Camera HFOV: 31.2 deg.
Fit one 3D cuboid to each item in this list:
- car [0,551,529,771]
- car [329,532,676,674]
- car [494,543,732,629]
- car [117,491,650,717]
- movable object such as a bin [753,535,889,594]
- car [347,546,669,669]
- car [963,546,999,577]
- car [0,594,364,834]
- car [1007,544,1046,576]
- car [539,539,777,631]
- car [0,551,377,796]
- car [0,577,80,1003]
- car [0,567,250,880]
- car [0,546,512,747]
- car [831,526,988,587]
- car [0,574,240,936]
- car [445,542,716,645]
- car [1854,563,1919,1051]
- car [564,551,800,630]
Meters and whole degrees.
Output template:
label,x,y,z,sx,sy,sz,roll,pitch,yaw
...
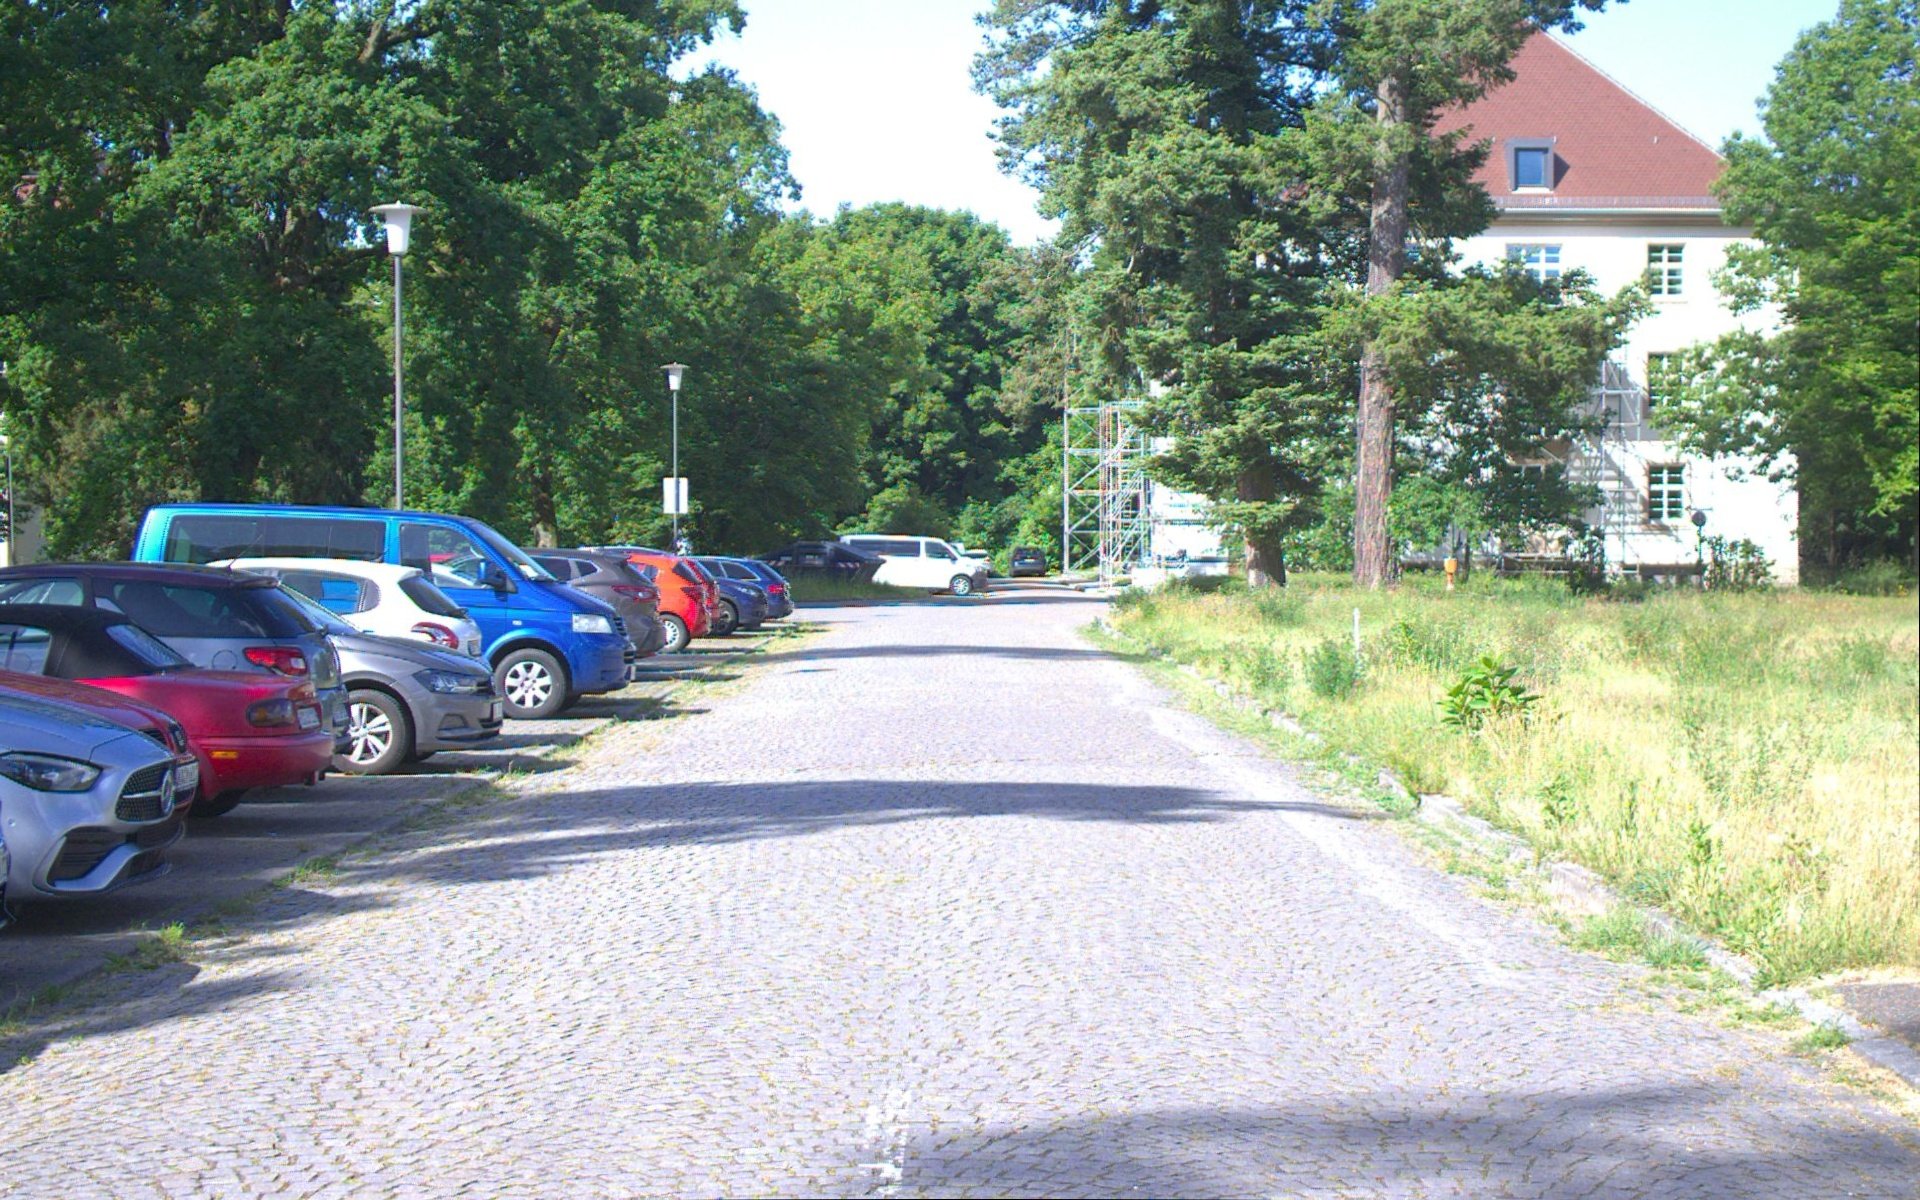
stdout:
label,x,y,z,sx,sy,sz,roll,pitch,yaw
car,-5.290,0.405,24.763,4.077,1.420,1.923,1,1,1
car,-5.522,0.017,41.877,3.953,1.562,1.974,2,2,-1
car,-6.039,-0.255,60.091,3.923,1.428,1.842,1,1,2
car,-5.441,0.024,32.923,4.717,1.961,2.005,2,1,0
movable object such as a bin,-4.148,-1.056,102.939,3.569,1.738,2.023,0,1,19
car,-5.819,0.078,44.611,3.923,1.444,1.867,2,1,-1
car,1.111,-2.043,182.007,1.812,1.574,4.135,0,1,0
car,-5.322,0.587,19.210,3.630,1.230,1.760,1,0,1
car,3.516,-2.109,182.289,1.971,1.662,4.086,0,1,0
car,-5.456,-0.286,62.484,4.135,1.574,1.884,1,1,0
car,-5.932,0.423,21.882,4.077,1.447,1.821,1,0,1
car,-5.562,0.602,11.836,4.580,1.447,1.985,1,0,-3
car,-6.138,0.523,16.902,4.864,1.416,1.938,1,1,1
car,-5.831,0.348,27.649,4.196,1.470,1.824,1,1,0
car,-1.696,-1.472,116.014,5.234,2.009,1.950,0,1,0
car,-5.702,0.562,14.556,4.864,1.416,1.938,1,0,1
car,-5.727,-0.114,52.203,3.923,1.456,1.842,1,1,-1
car,4.756,0.546,10.059,3.740,1.471,1.752,-3,1,-1
car,-5.408,-0.202,67.169,4.360,1.440,1.921,1,1,3
